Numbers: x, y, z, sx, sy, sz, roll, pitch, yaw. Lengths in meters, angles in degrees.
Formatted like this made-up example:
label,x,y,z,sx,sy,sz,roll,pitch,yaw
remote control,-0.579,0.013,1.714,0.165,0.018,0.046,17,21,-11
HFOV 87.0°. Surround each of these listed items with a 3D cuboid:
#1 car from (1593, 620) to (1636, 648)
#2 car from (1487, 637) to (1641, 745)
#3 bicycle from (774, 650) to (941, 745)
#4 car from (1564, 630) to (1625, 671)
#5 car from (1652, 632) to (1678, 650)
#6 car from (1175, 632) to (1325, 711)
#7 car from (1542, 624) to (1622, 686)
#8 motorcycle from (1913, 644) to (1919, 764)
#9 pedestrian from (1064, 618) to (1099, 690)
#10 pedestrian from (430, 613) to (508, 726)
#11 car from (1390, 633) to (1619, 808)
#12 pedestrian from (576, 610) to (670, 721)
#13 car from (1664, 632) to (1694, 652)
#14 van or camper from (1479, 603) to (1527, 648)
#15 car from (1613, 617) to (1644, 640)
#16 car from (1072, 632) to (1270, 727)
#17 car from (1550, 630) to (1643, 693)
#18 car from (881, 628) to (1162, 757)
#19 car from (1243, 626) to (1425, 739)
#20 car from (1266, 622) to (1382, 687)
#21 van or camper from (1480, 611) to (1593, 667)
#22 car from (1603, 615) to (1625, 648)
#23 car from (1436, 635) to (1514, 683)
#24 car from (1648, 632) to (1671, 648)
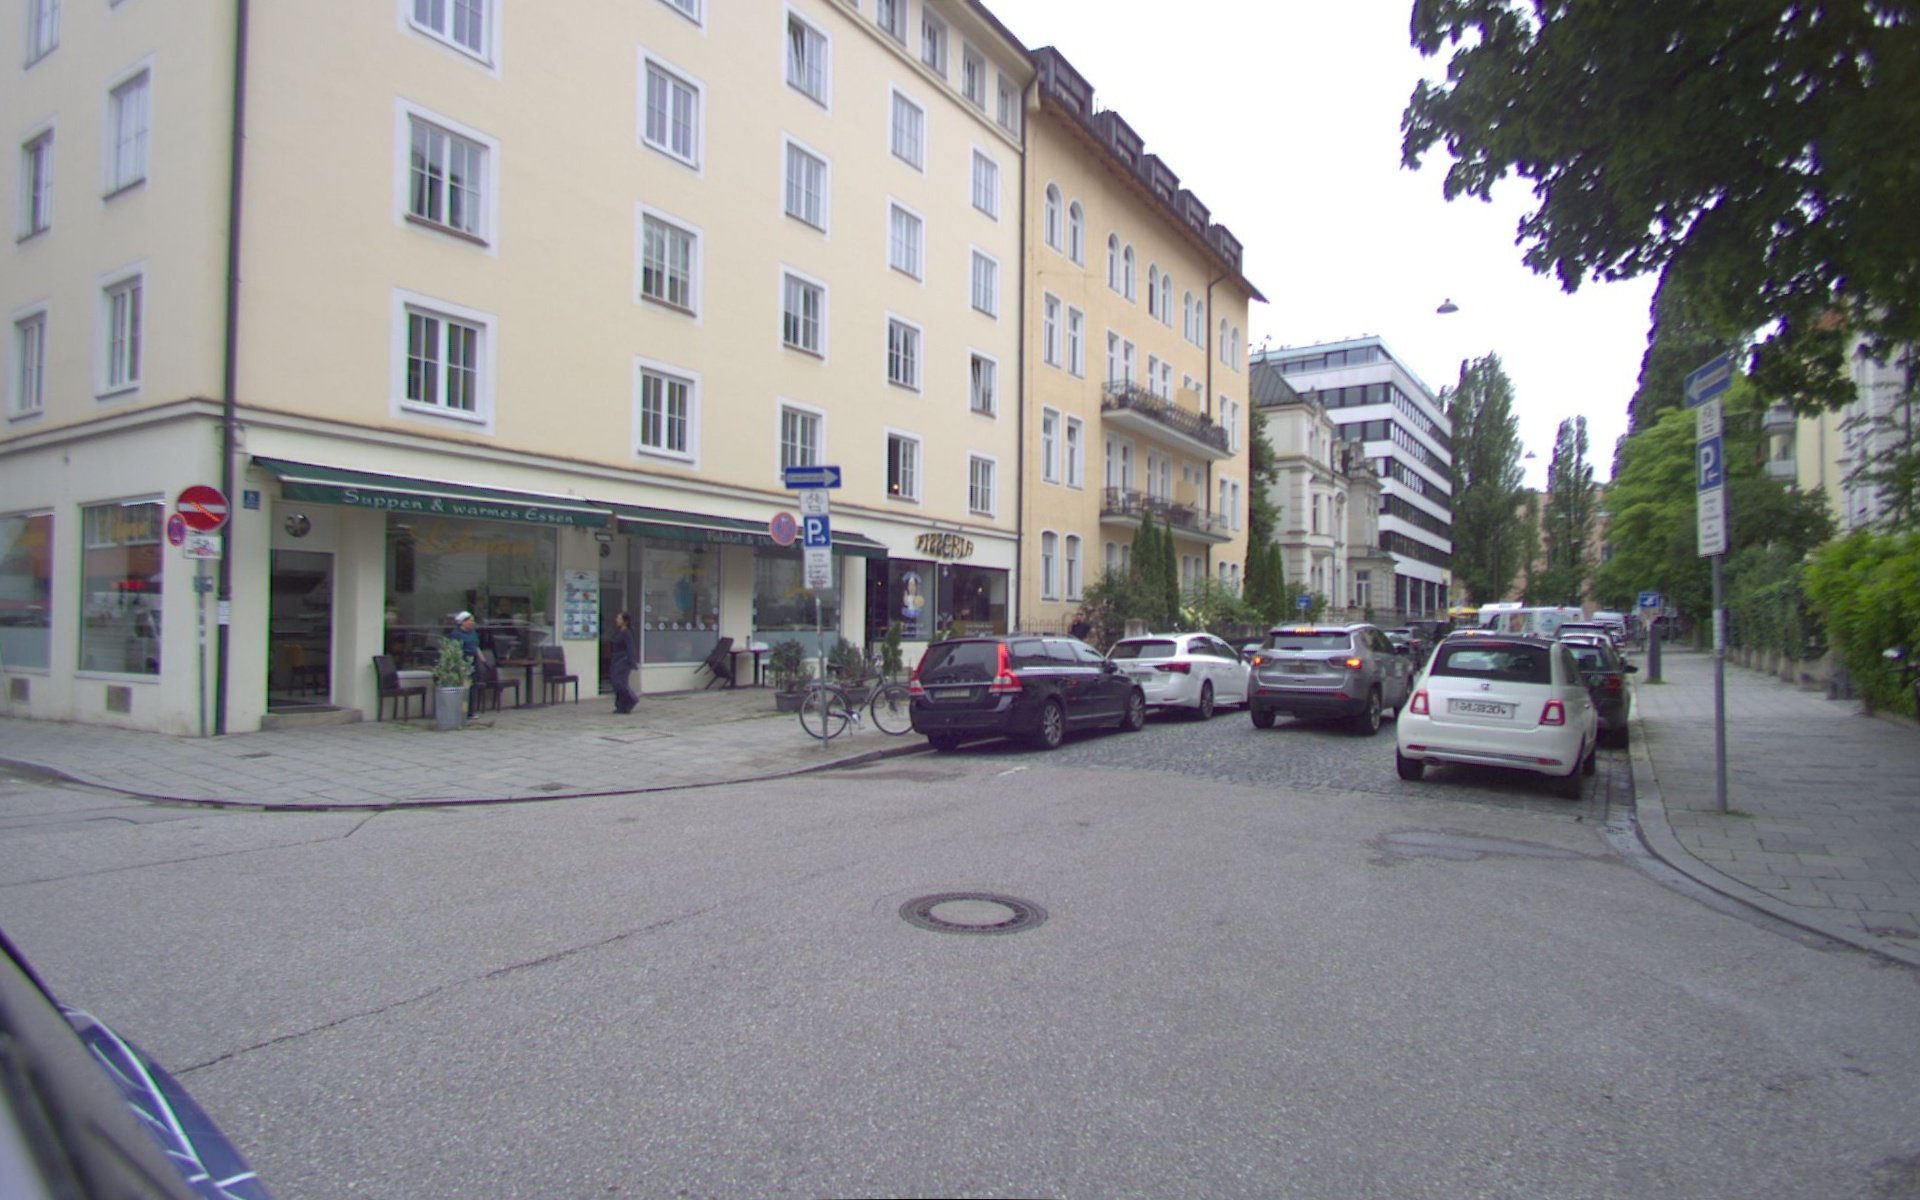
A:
label,x,y,z,sx,sy,sz,roll,pitch,yaw
car,38.174,1.980,59.091,1.994,1.564,3.955,-1,-2,33
car,9.323,1.275,15.479,1.790,1.371,3.953,0,-2,34
bicycle,-1.398,1.318,13.965,2.117,1.211,0.813,2,-3,-27
car,25.746,1.993,41.052,1.994,1.564,3.955,-1,-2,33
car,71.665,4.139,102.939,1.994,1.796,3.955,-1,-2,33
car,6.595,1.558,22.666,1.994,1.522,4.383,-6,-5,32
car,19.472,1.673,31.657,1.994,1.785,3.955,-1,-2,33
motorcycle,9.933,1.077,9.798,0.813,1.282,2.726,-1,-2,39
pedestrian,3.109,1.356,25.820,0.847,1.803,0.777,0,-2,10
pedestrian,-7.279,1.015,15.032,0.907,1.623,0.778,1,-2,-17
car,6.044,1.122,10.988,1.790,1.469,3.953,1,-1,34
pedestrian,-5.366,1.023,16.136,0.869,1.689,1.112,-1,-2,34
car,66.024,3.803,92.971,1.994,1.796,3.955,-1,-2,33
van or camper,35.609,1.691,66.344,2.074,2.807,4.370,-2,-3,37
car,53.552,2.320,81.130,1.994,1.796,3.955,-1,-2,33
car,3.903,1.373,18.155,1.994,1.438,4.383,-6,-5,32
car,17.504,1.633,27.998,1.992,1.564,3.959,-1,-1,30
car,1.047,1.237,14.275,2.022,1.494,4.440,-6,-5,32
car,6.099,1.200,16.179,1.830,1.534,4.444,-1,-2,33
car,10.032,1.470,27.660,1.994,1.522,4.383,-6,-5,32
van or camper,22.504,1.471,39.742,2.073,2.059,4.619,0,-1,5
car,75.885,3.649,117.418,1.994,3.694,6.235,-1,-2,32
car,16.368,1.817,32.044,1.776,1.386,4.382,-1,-2,33
car,78.610,4.494,113.742,1.994,1.796,3.955,-1,-2,33
